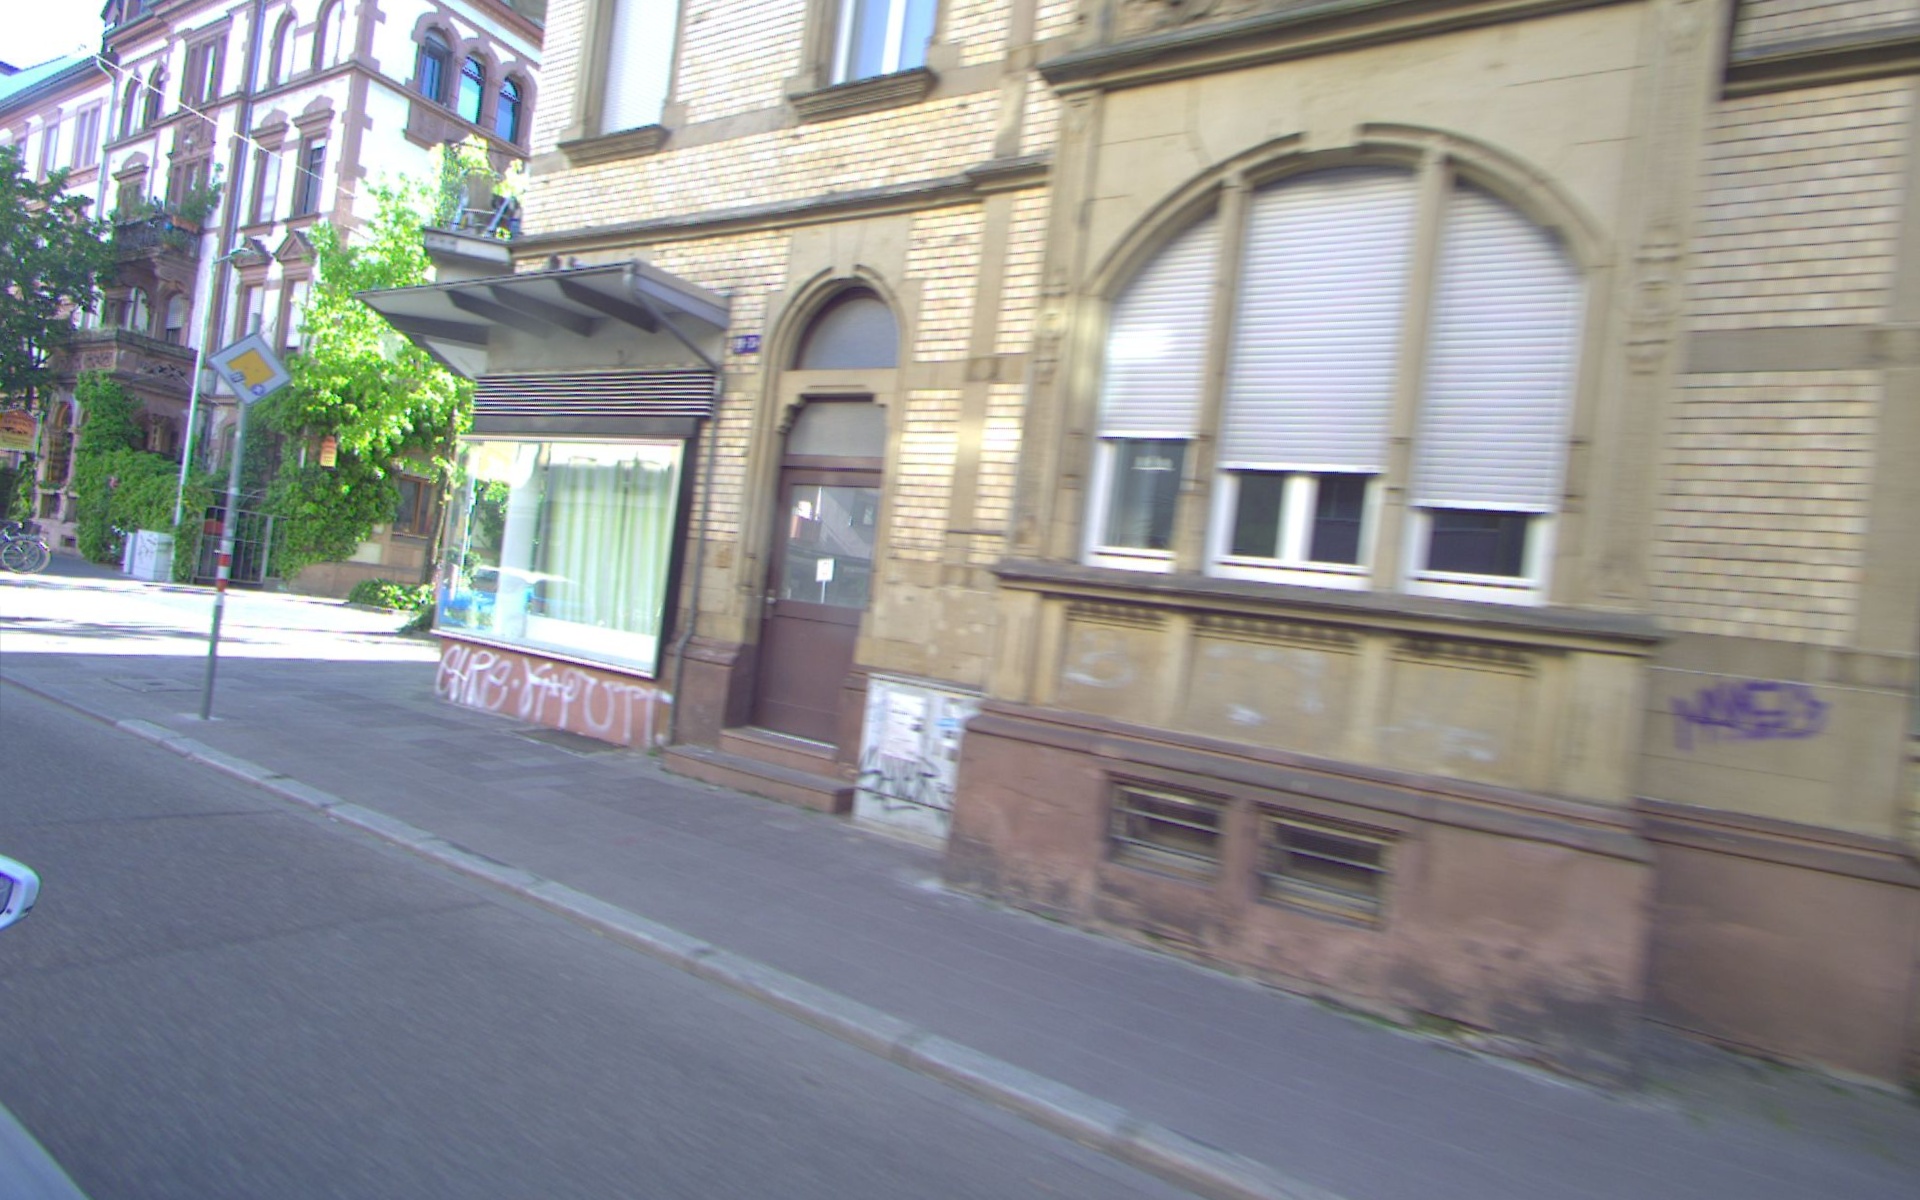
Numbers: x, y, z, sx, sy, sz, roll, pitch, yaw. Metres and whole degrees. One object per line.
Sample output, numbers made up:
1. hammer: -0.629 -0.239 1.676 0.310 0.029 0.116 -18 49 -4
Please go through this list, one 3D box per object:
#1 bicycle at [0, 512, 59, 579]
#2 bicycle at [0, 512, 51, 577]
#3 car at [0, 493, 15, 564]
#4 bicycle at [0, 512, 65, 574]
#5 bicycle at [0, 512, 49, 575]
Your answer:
1. bicycle: -18.114 -1.089 18.935 0.543 1.140 1.557 6 -2 38
2. bicycle: -18.575 -1.136 19.284 0.520 1.140 1.557 6 -2 38
3. car: -23.225 -1.887 21.324 1.818 1.614 4.372 7 -2 7
4. bicycle: -19.688 -1.230 20.832 0.543 1.140 1.557 6 -2 38
5. bicycle: -19.030 -1.190 19.638 0.543 1.140 1.675 6 -2 38
